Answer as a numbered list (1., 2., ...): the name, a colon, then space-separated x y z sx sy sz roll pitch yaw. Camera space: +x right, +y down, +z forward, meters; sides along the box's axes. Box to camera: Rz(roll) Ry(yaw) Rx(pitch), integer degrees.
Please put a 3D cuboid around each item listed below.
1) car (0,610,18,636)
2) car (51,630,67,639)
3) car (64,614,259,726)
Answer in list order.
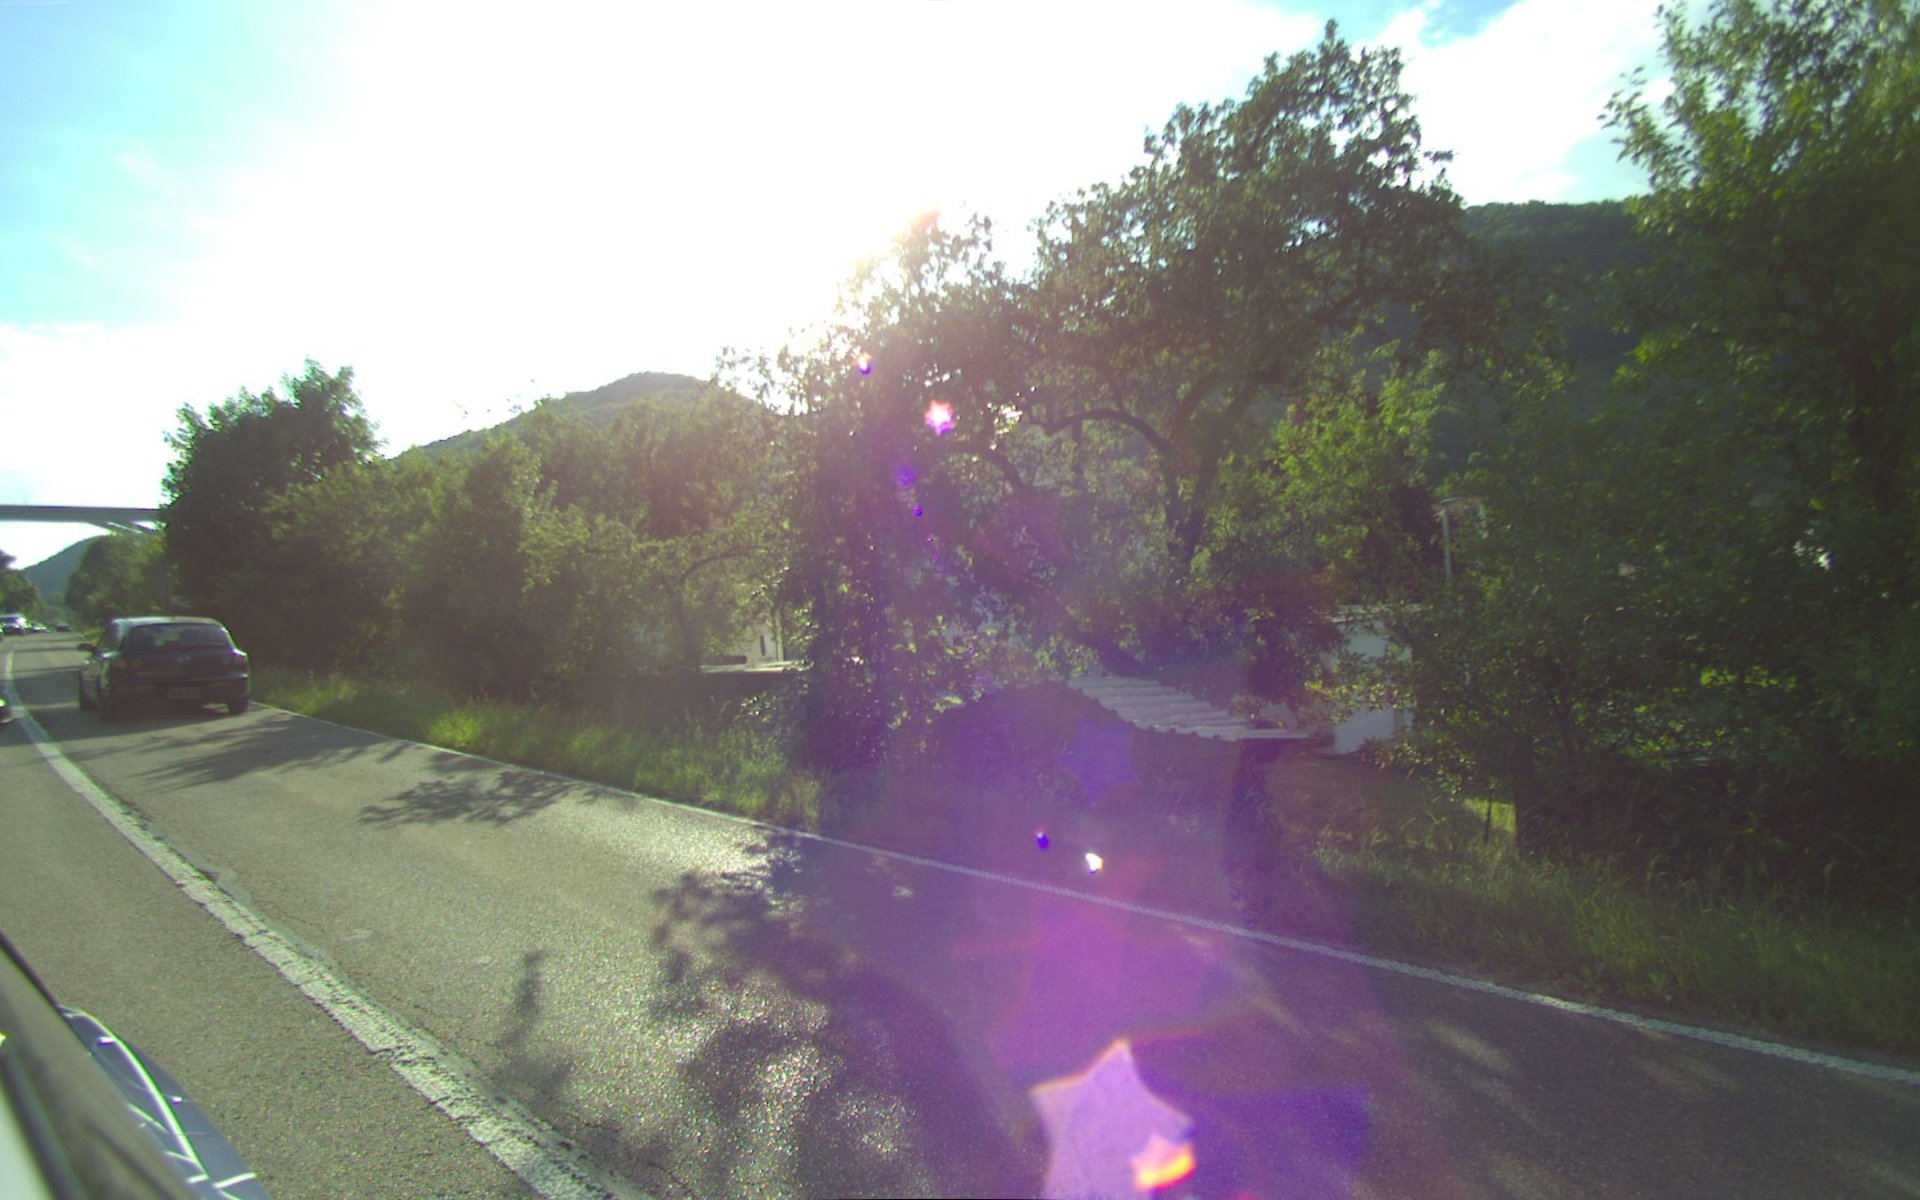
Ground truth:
1. car: -77.075 1.850 81.358 1.970 2.029 4.004 -1 0 -43
2. car: -136.663 5.226 153.435 1.576 1.364 4.206 -1 0 -45
3. car: -12.184 0.953 15.353 4.050 1.441 1.686 -1 0 42
